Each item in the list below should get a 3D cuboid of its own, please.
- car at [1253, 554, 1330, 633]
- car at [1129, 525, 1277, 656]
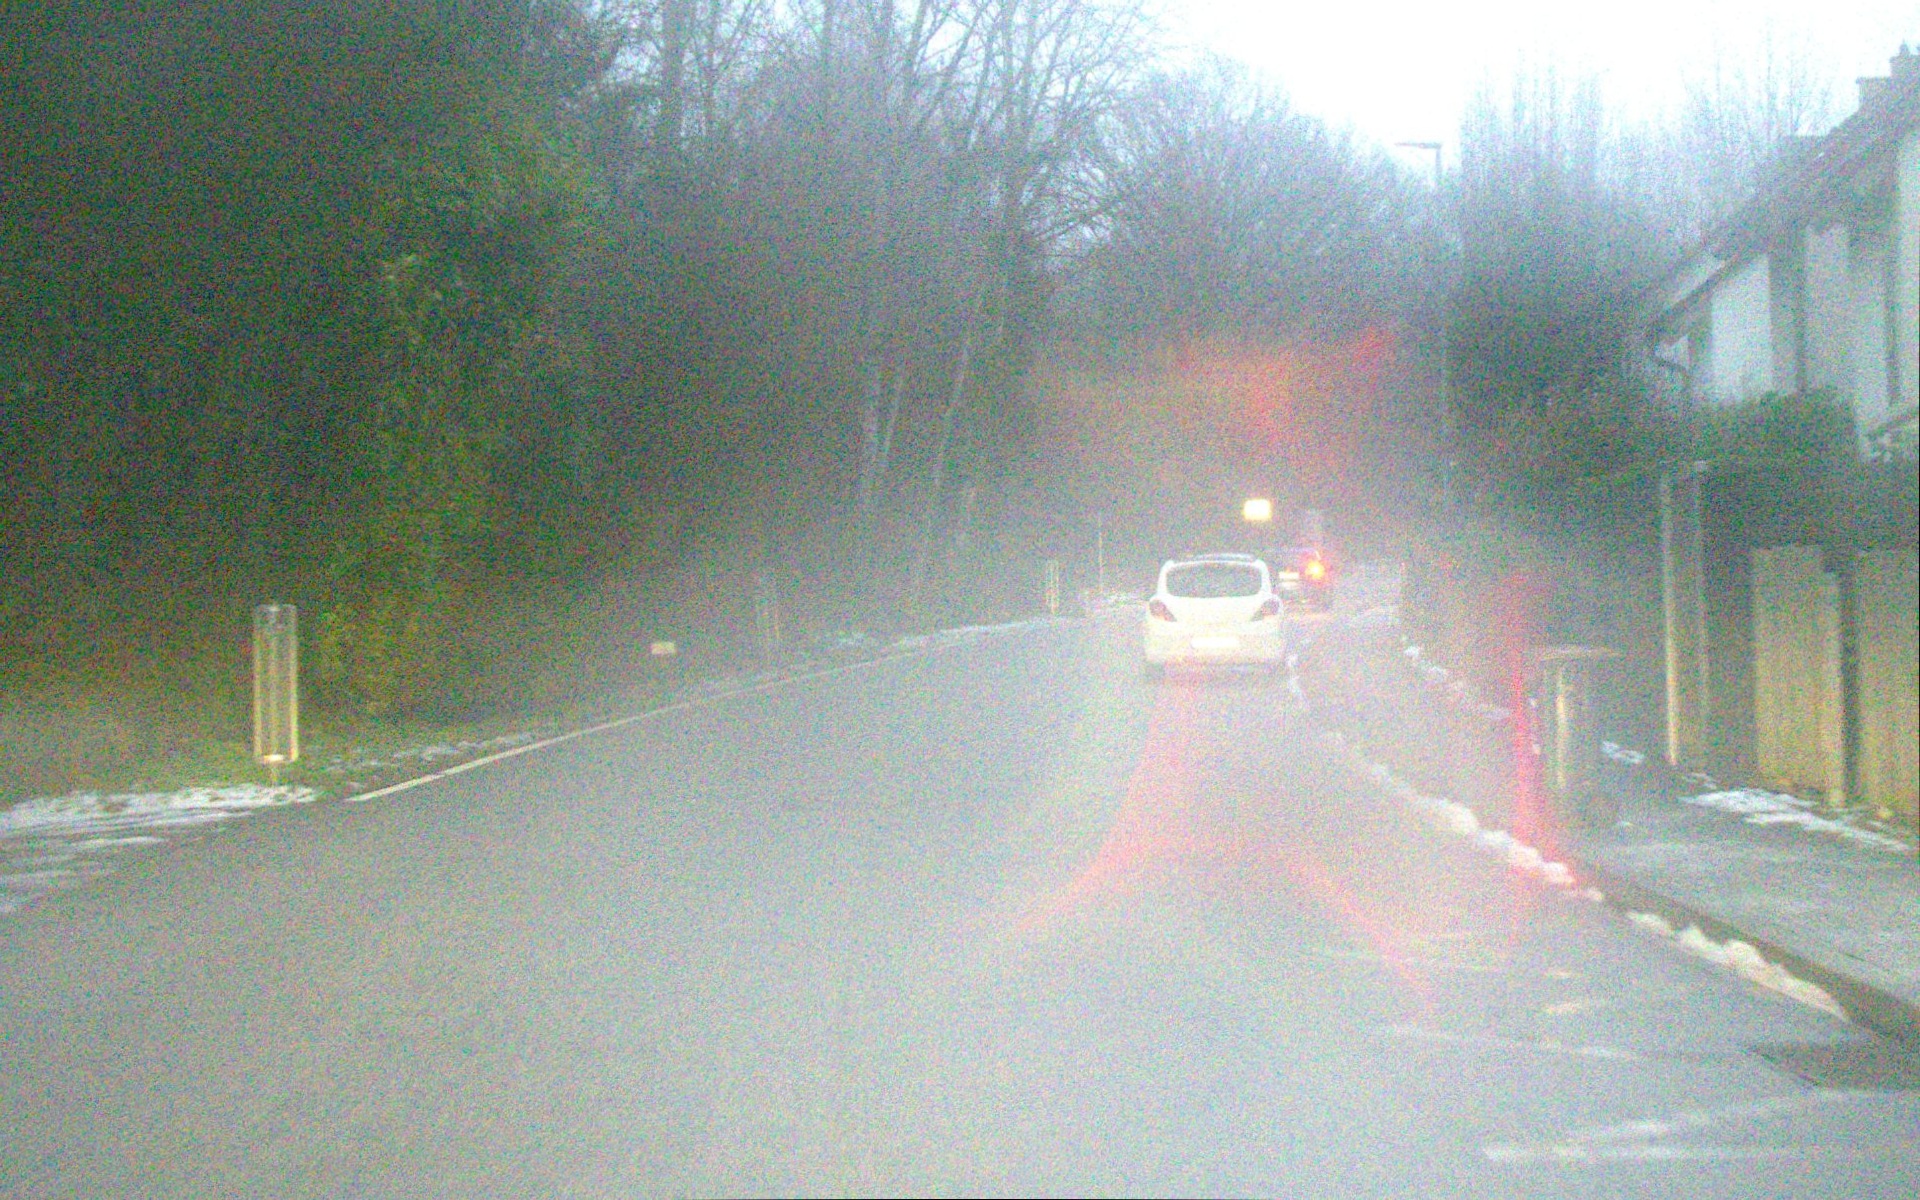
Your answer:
[{"bbox_3d":[7.910,-0.172,81.832,1.690,1.768,3.860,-1,1,7],"label":"car"},{"bbox_3d":[2.941,-0.127,41.554,1.704,1.501,4.024,0,0,4],"label":"car"}]
